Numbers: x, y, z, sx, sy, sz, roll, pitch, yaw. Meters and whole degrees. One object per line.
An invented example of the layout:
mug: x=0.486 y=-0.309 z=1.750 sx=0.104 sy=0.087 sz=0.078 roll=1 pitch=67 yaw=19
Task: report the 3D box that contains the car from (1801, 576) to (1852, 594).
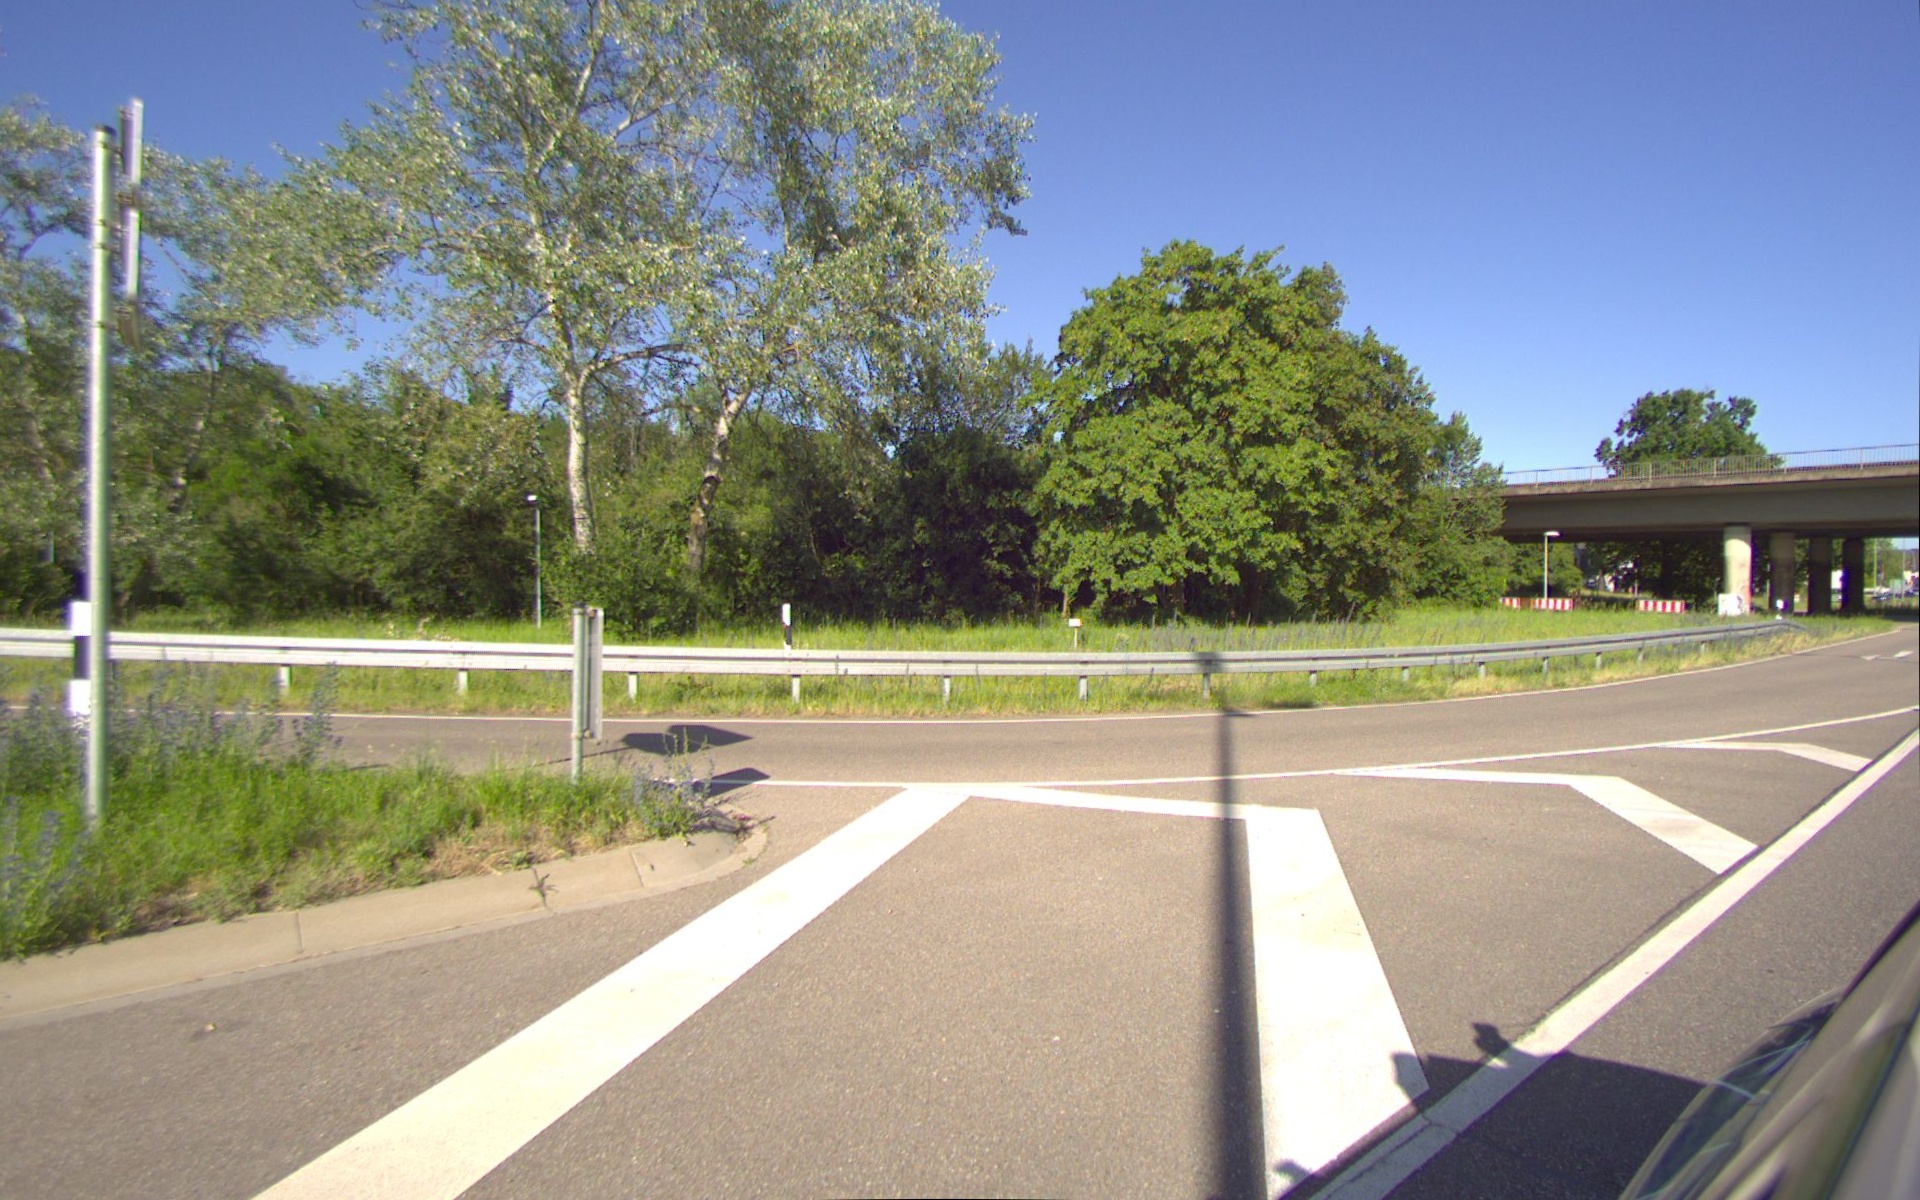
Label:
car: x=81.052 y=-1.422 z=94.700 sx=1.798 sy=1.556 sz=4.032 roll=0 pitch=1 yaw=9
